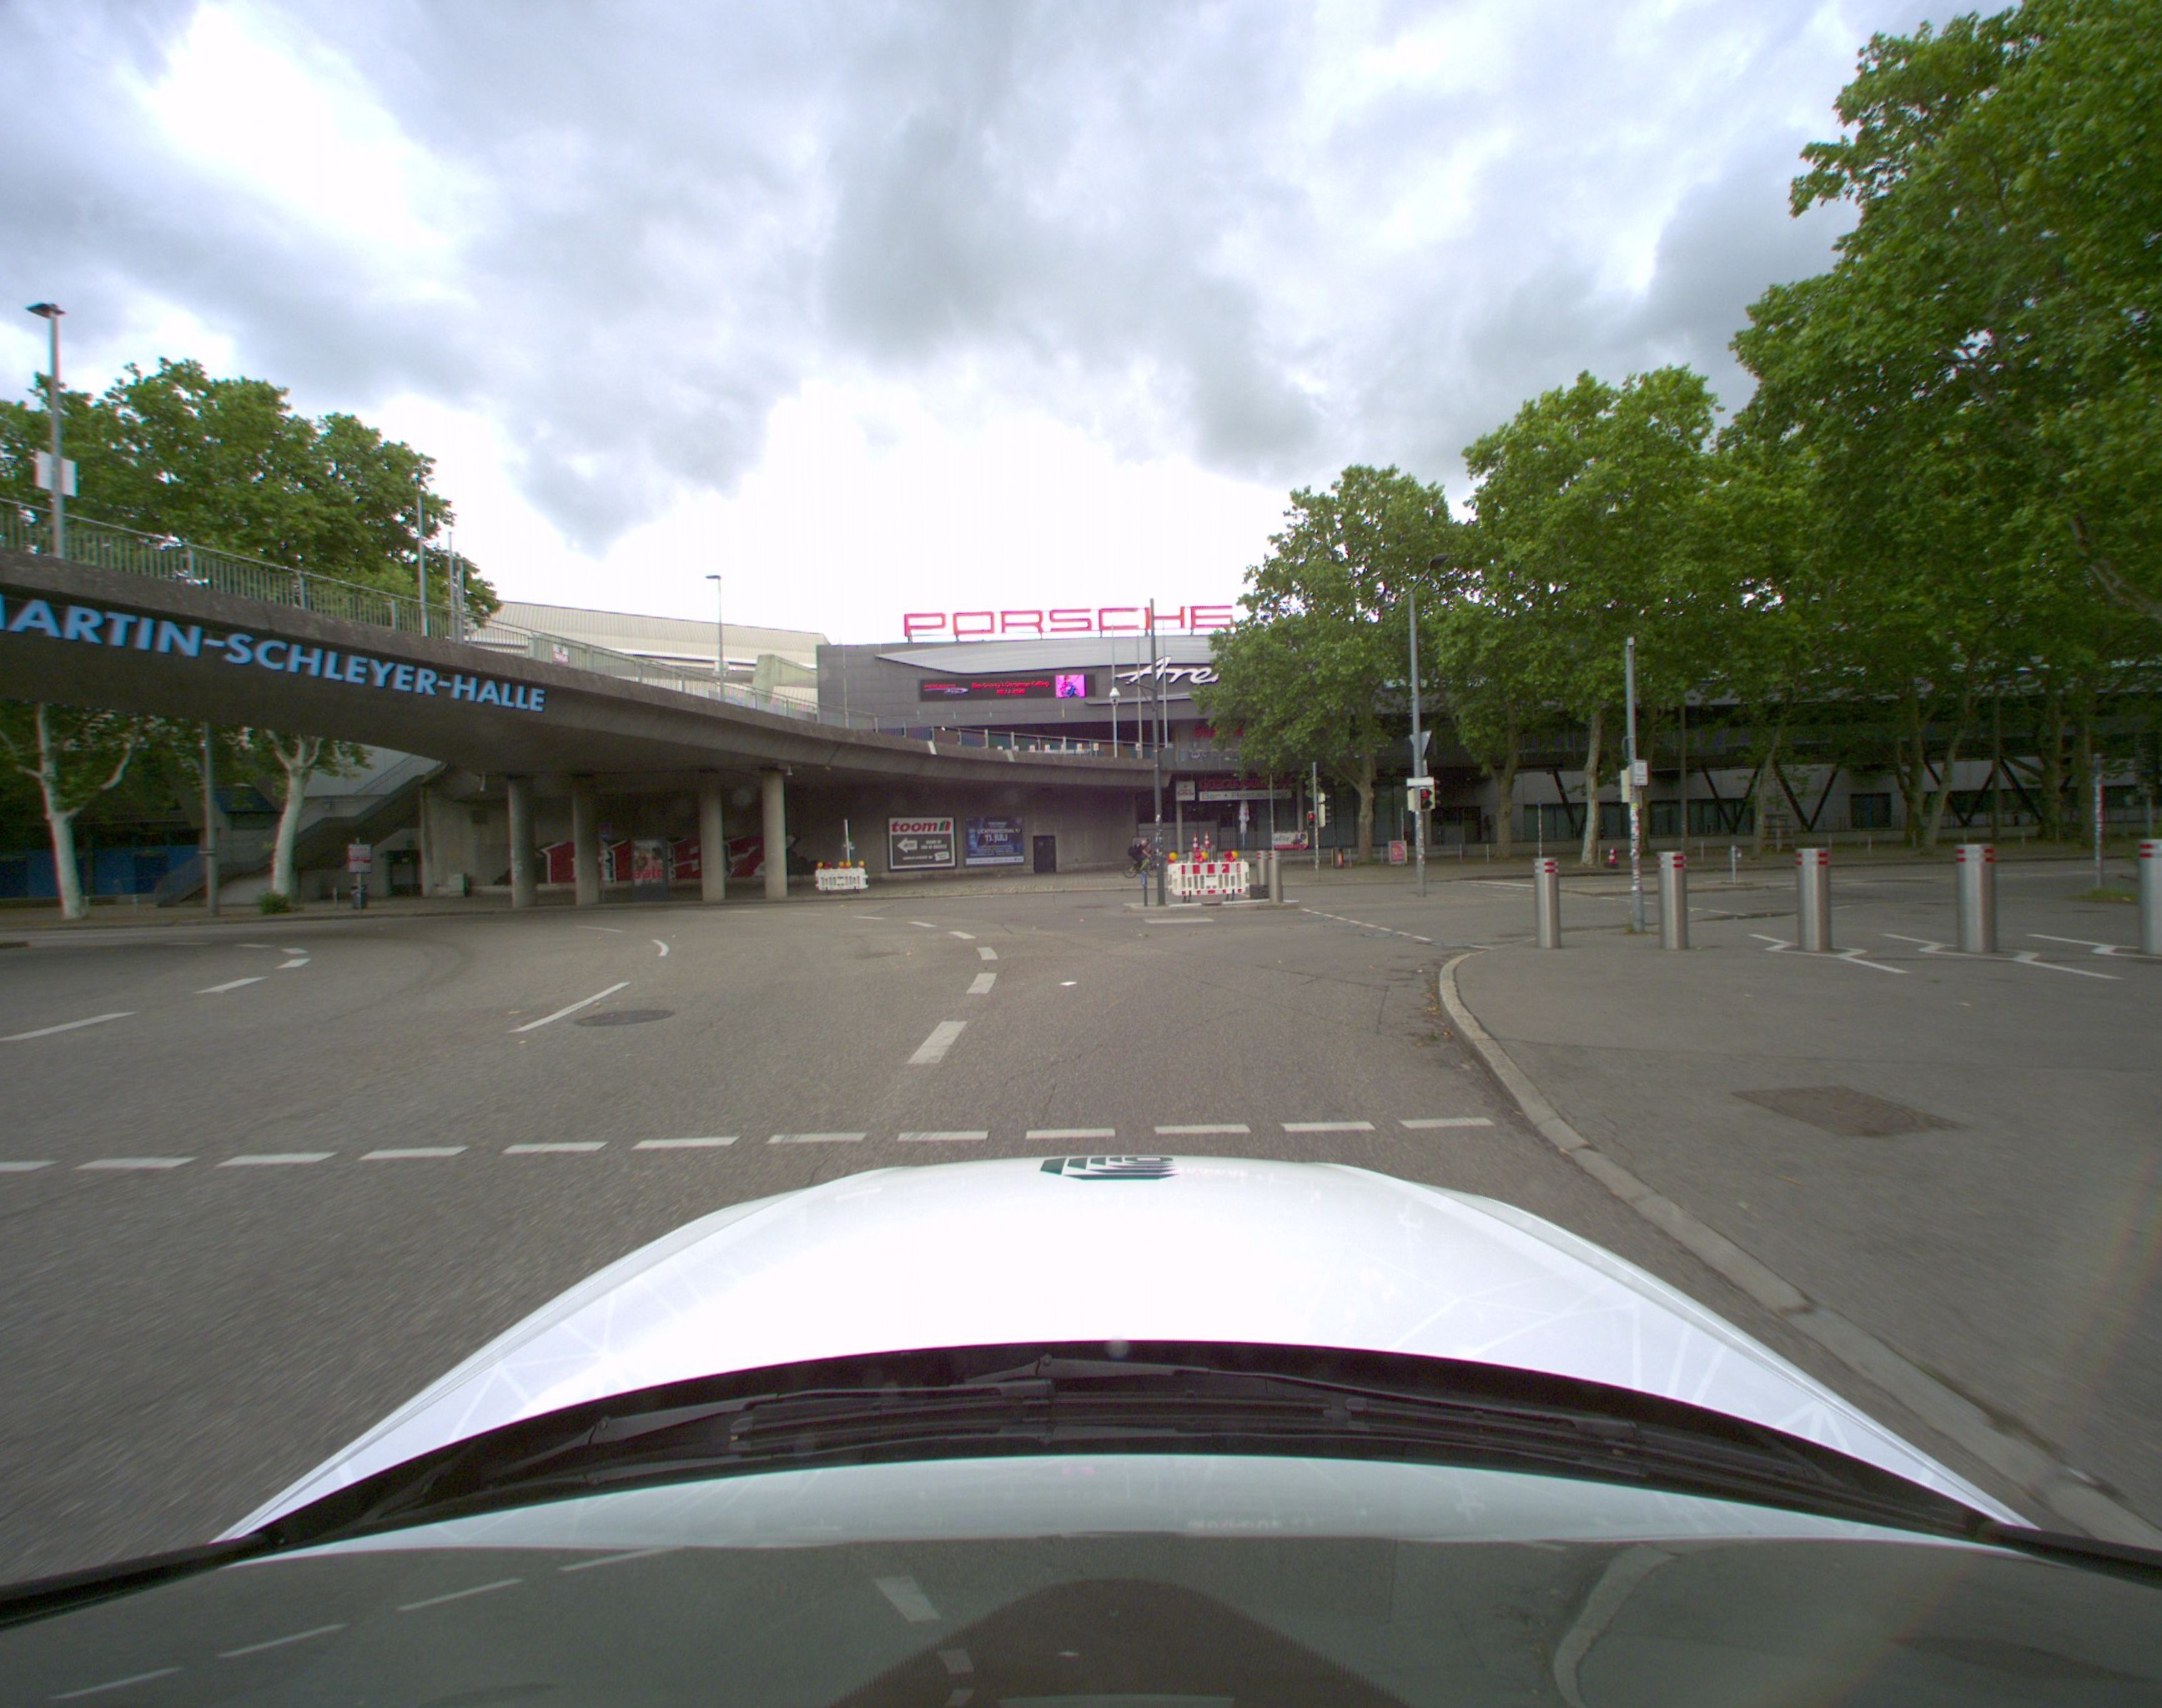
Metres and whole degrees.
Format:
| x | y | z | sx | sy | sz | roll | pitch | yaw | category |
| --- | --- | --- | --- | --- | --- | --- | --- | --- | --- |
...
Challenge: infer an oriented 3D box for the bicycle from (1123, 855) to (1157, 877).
| x | y | z | sx | sy | sz | roll | pitch | yaw | category |
| --- | --- | --- | --- | --- | --- | --- | --- | --- | --- |
| 2.714 | 0.562 | 37.649 | 1.529 | 1.013 | 0.516 | 0 | -1 | -3 | bicycle |

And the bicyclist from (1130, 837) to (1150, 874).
| x | y | z | sx | sy | sz | roll | pitch | yaw | category |
| --- | --- | --- | --- | --- | --- | --- | --- | --- | --- |
| 2.707 | 0.074 | 37.581 | 0.849 | 1.697 | 0.766 | 0 | -1 | -3 | bicyclist |
